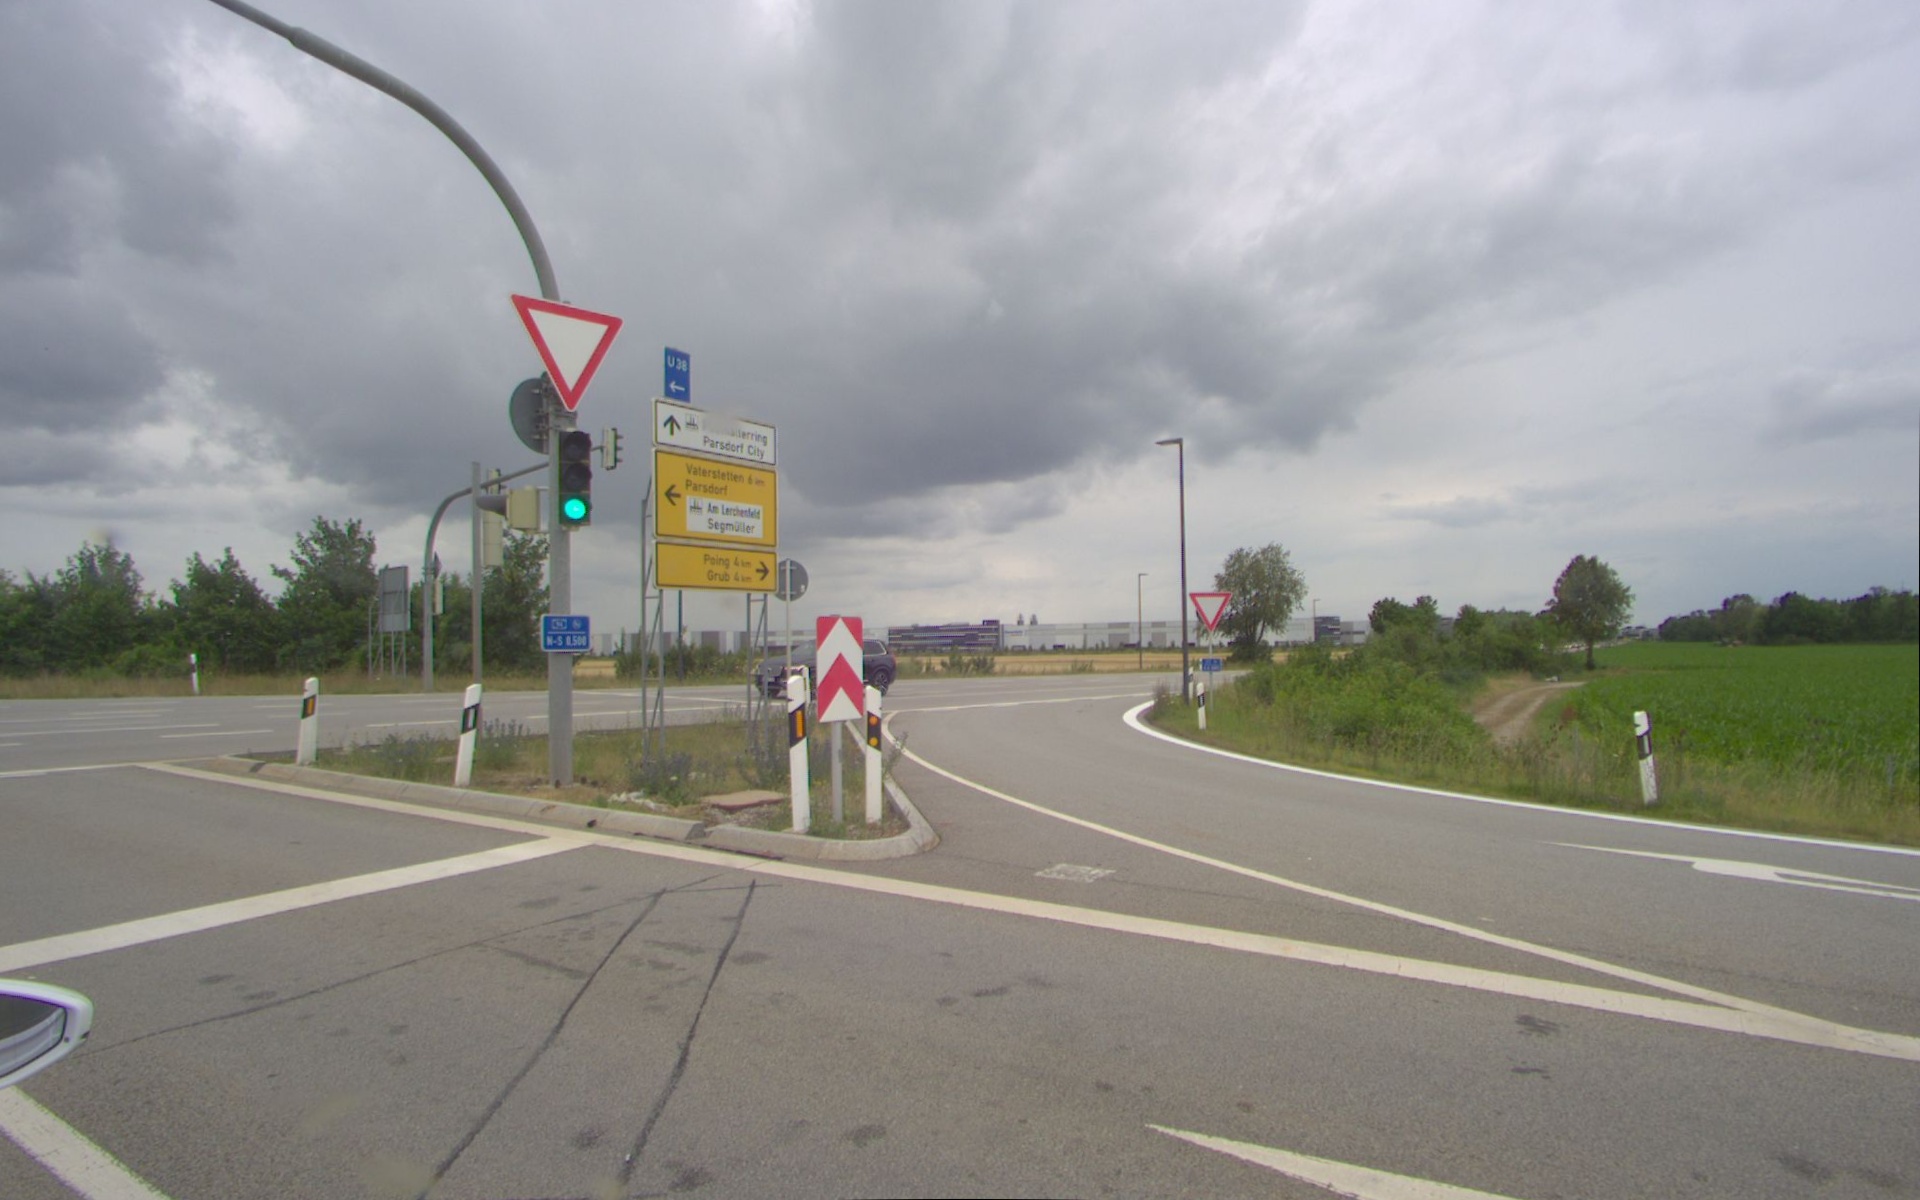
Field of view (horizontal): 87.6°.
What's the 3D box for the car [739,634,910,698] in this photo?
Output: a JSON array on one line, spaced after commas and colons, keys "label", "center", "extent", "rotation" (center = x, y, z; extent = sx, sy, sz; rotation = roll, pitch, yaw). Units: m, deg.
[{"label": "car", "center": [-3.885, 1.912, 29.537], "extent": [1.977, 1.705, 4.961], "rotation": [-2, -3, 41]}]
